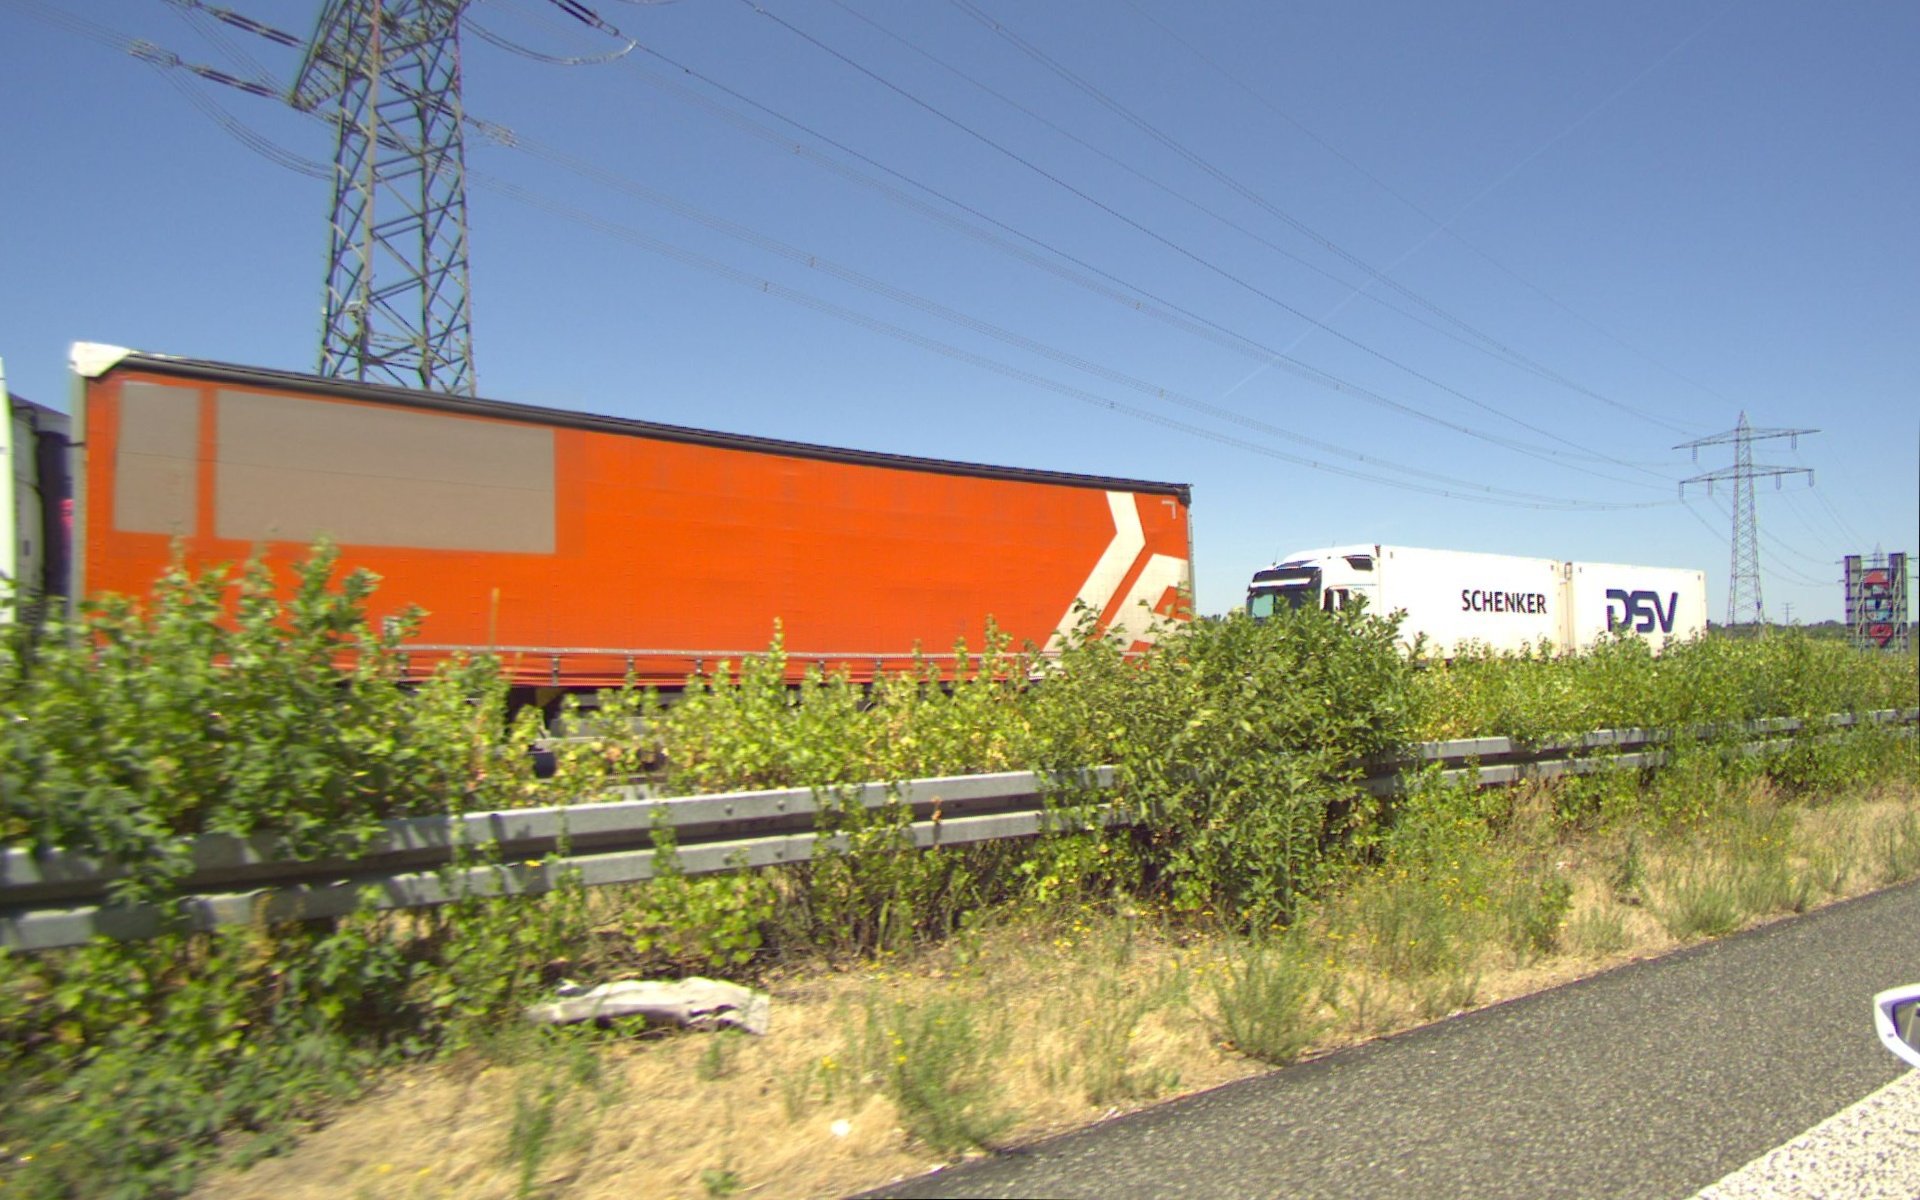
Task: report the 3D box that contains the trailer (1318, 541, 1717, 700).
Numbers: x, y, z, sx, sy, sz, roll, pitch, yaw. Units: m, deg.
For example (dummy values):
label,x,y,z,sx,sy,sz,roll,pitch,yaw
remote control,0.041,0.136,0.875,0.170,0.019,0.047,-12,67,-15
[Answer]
label,x,y,z,sx,sy,sz,roll,pitch,yaw
trailer,17.083,0.721,29.788,15.794,3.872,2.840,2,-2,-31

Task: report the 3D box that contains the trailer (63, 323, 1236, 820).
label,x,y,z,sx,sy,sz,roll,pitch,yaw
trailer,-2.288,-0.045,13.483,14.166,4.293,2.578,2,-2,-31

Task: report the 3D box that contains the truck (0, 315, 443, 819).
label,x,y,z,sx,sy,sz,roll,pitch,yaw
truck,-8.425,-0.235,9.817,5.839,4.266,2.588,1,-2,-30

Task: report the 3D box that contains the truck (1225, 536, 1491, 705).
label,x,y,z,sx,sy,sz,roll,pitch,yaw
truck,10.216,0.581,25.629,6.772,3.800,2.821,1,-2,-31
